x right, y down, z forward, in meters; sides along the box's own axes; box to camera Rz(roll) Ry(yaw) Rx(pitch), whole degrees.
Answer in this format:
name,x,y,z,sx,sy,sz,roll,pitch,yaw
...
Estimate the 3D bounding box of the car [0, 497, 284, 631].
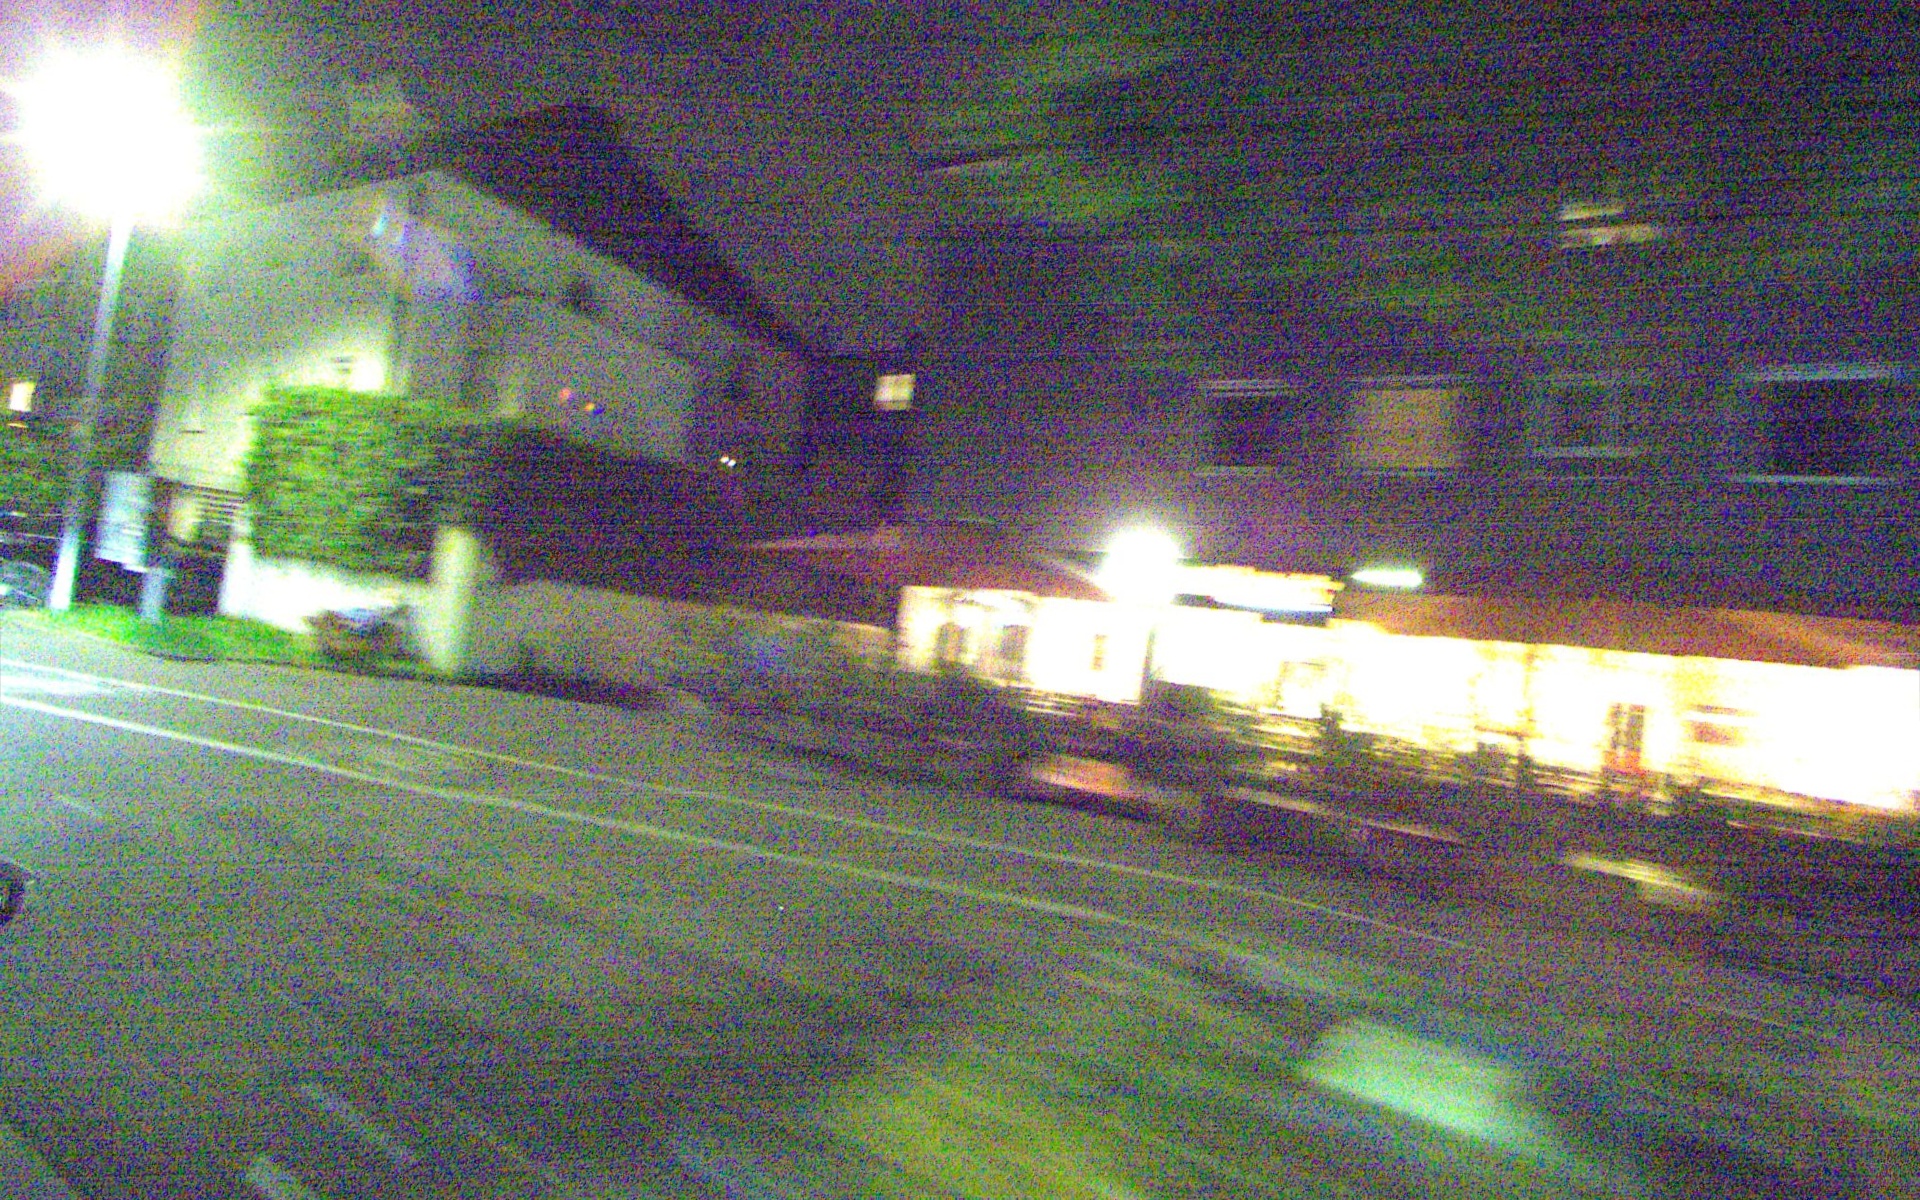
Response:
name,x,y,z,sx,sy,sz,roll,pitch,yaw
car,-12.479,-0.529,14.617,1.802,1.503,3.912,7,-2,30
